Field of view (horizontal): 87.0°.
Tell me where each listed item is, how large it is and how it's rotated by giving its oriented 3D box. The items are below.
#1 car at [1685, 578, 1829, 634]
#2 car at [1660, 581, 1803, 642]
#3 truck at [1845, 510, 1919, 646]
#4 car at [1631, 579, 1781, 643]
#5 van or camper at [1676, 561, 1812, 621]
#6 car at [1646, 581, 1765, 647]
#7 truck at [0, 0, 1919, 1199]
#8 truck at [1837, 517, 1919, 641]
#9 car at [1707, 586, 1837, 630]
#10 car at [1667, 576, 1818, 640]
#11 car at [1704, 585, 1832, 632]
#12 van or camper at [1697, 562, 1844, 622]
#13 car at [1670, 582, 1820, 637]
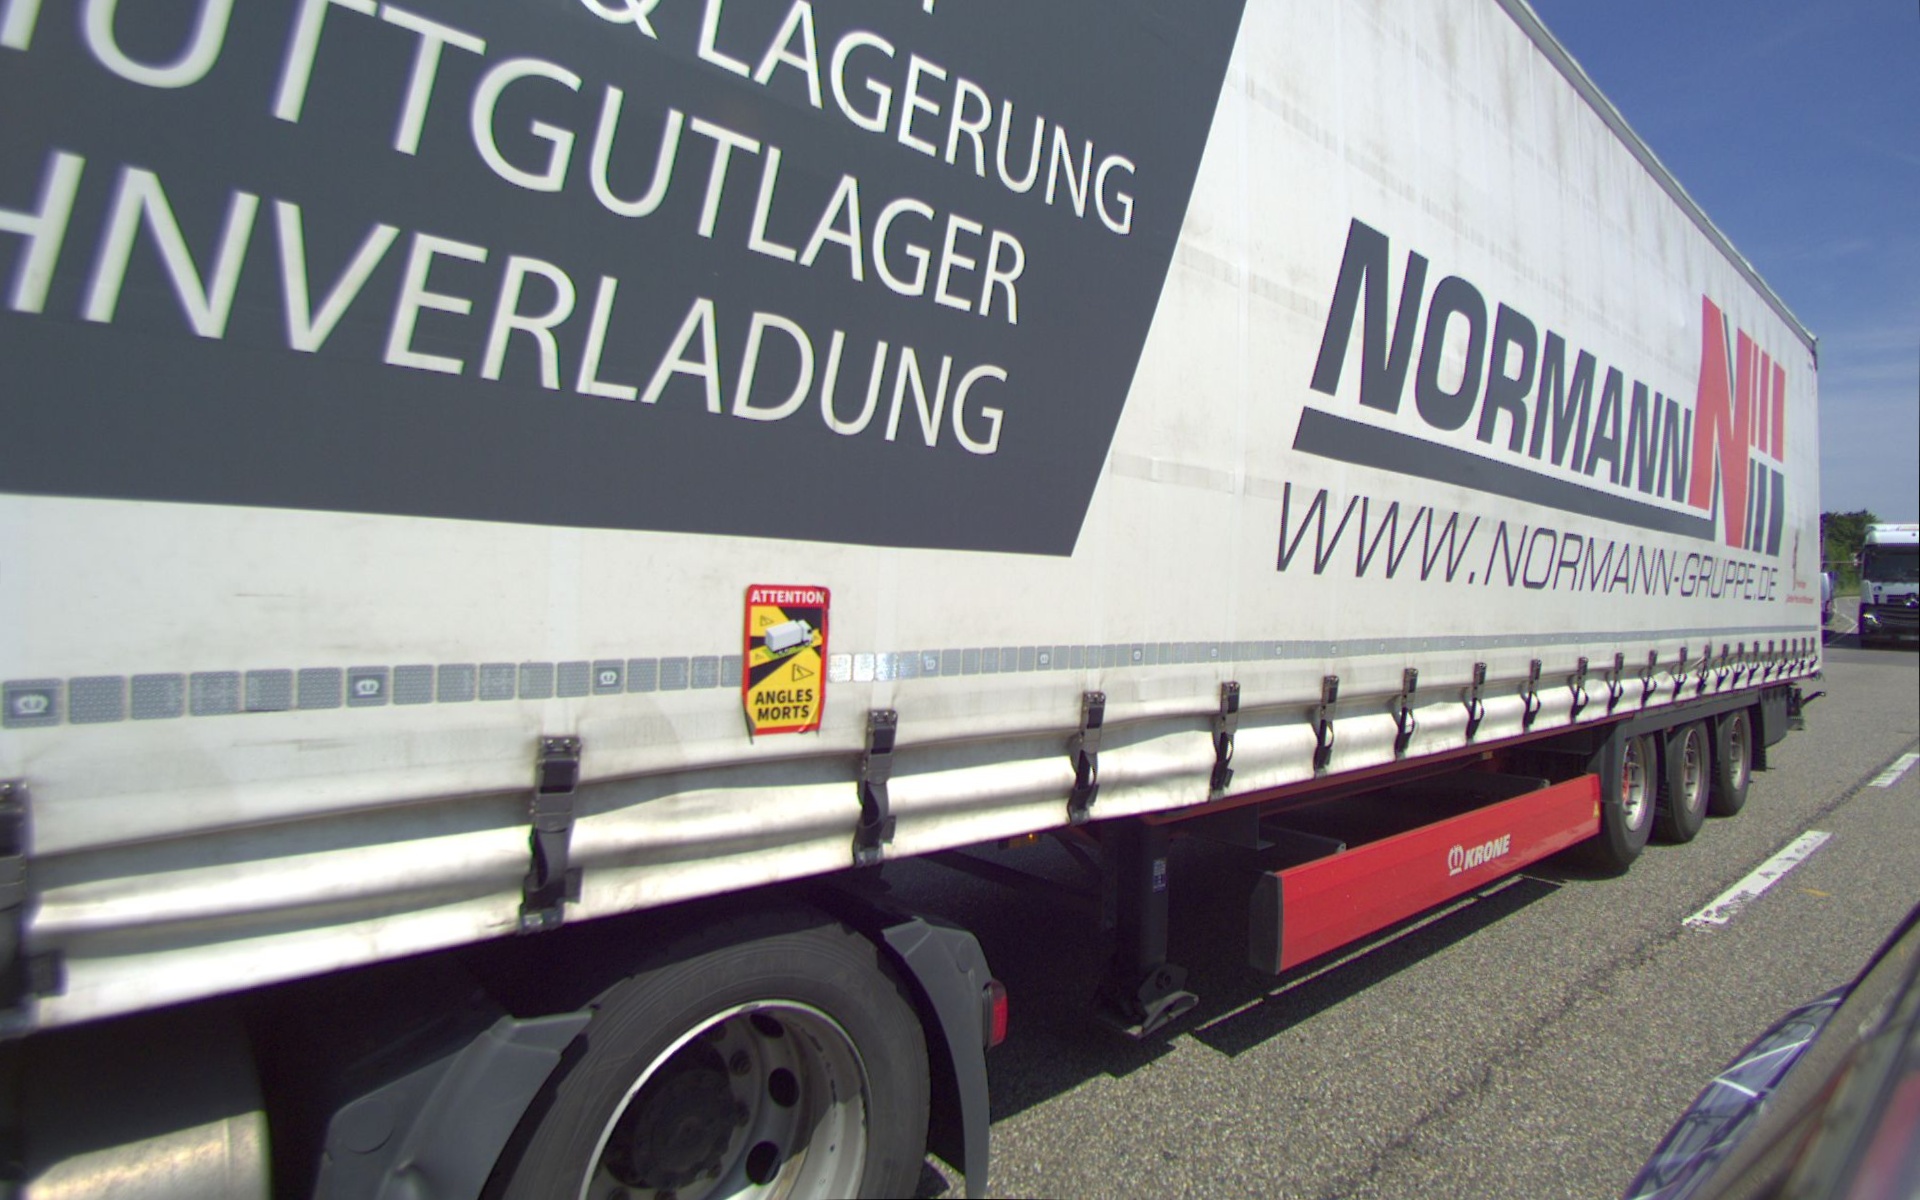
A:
[{"bbox_3d":[30.948,0.193,39.491,3.993,1.693,2.179,7,5,30],"label":"car"},{"bbox_3d":[25.610,0.326,33.651,3.529,1.495,1.805,10,7,42],"label":"car"},{"bbox_3d":[30.942,-0.677,32.804,2.971,4.058,6.235,5,4,40],"label":"truck"},{"bbox_3d":[23.470,0.287,31.889,3.529,1.495,1.805,10,7,42],"label":"car"},{"bbox_3d":[41.282,-0.524,53.413,2.196,2.941,5.374,0,2,-44],"label":"van or camper"},{"bbox_3d":[20.742,0.325,28.095,1.996,1.449,3.936,10,8,44],"label":"car"},{"bbox_3d":[1.433,-0.816,4.544,17.329,4.145,2.978,0,0,-42],"label":"truck"},{"bbox_3d":[36.108,-0.770,39.004,2.971,4.058,13.919,5,4,40],"label":"truck"},{"bbox_3d":[35.638,0.294,44.495,4.265,1.429,2.131,8,6,41],"label":"car"},{"bbox_3d":[27.319,0.218,35.402,1.912,1.711,3.860,0,7,-45],"label":"car"},{"bbox_3d":[34.025,0.330,42.680,4.011,1.499,1.949,8,6,41],"label":"car"},{"bbox_3d":[40.538,-0.452,50.735,2.196,2.763,5.480,0,2,-44],"label":"van or camper"},{"bbox_3d":[28.828,0.296,37.230,4.137,1.438,1.766,9,7,42],"label":"car"}]
